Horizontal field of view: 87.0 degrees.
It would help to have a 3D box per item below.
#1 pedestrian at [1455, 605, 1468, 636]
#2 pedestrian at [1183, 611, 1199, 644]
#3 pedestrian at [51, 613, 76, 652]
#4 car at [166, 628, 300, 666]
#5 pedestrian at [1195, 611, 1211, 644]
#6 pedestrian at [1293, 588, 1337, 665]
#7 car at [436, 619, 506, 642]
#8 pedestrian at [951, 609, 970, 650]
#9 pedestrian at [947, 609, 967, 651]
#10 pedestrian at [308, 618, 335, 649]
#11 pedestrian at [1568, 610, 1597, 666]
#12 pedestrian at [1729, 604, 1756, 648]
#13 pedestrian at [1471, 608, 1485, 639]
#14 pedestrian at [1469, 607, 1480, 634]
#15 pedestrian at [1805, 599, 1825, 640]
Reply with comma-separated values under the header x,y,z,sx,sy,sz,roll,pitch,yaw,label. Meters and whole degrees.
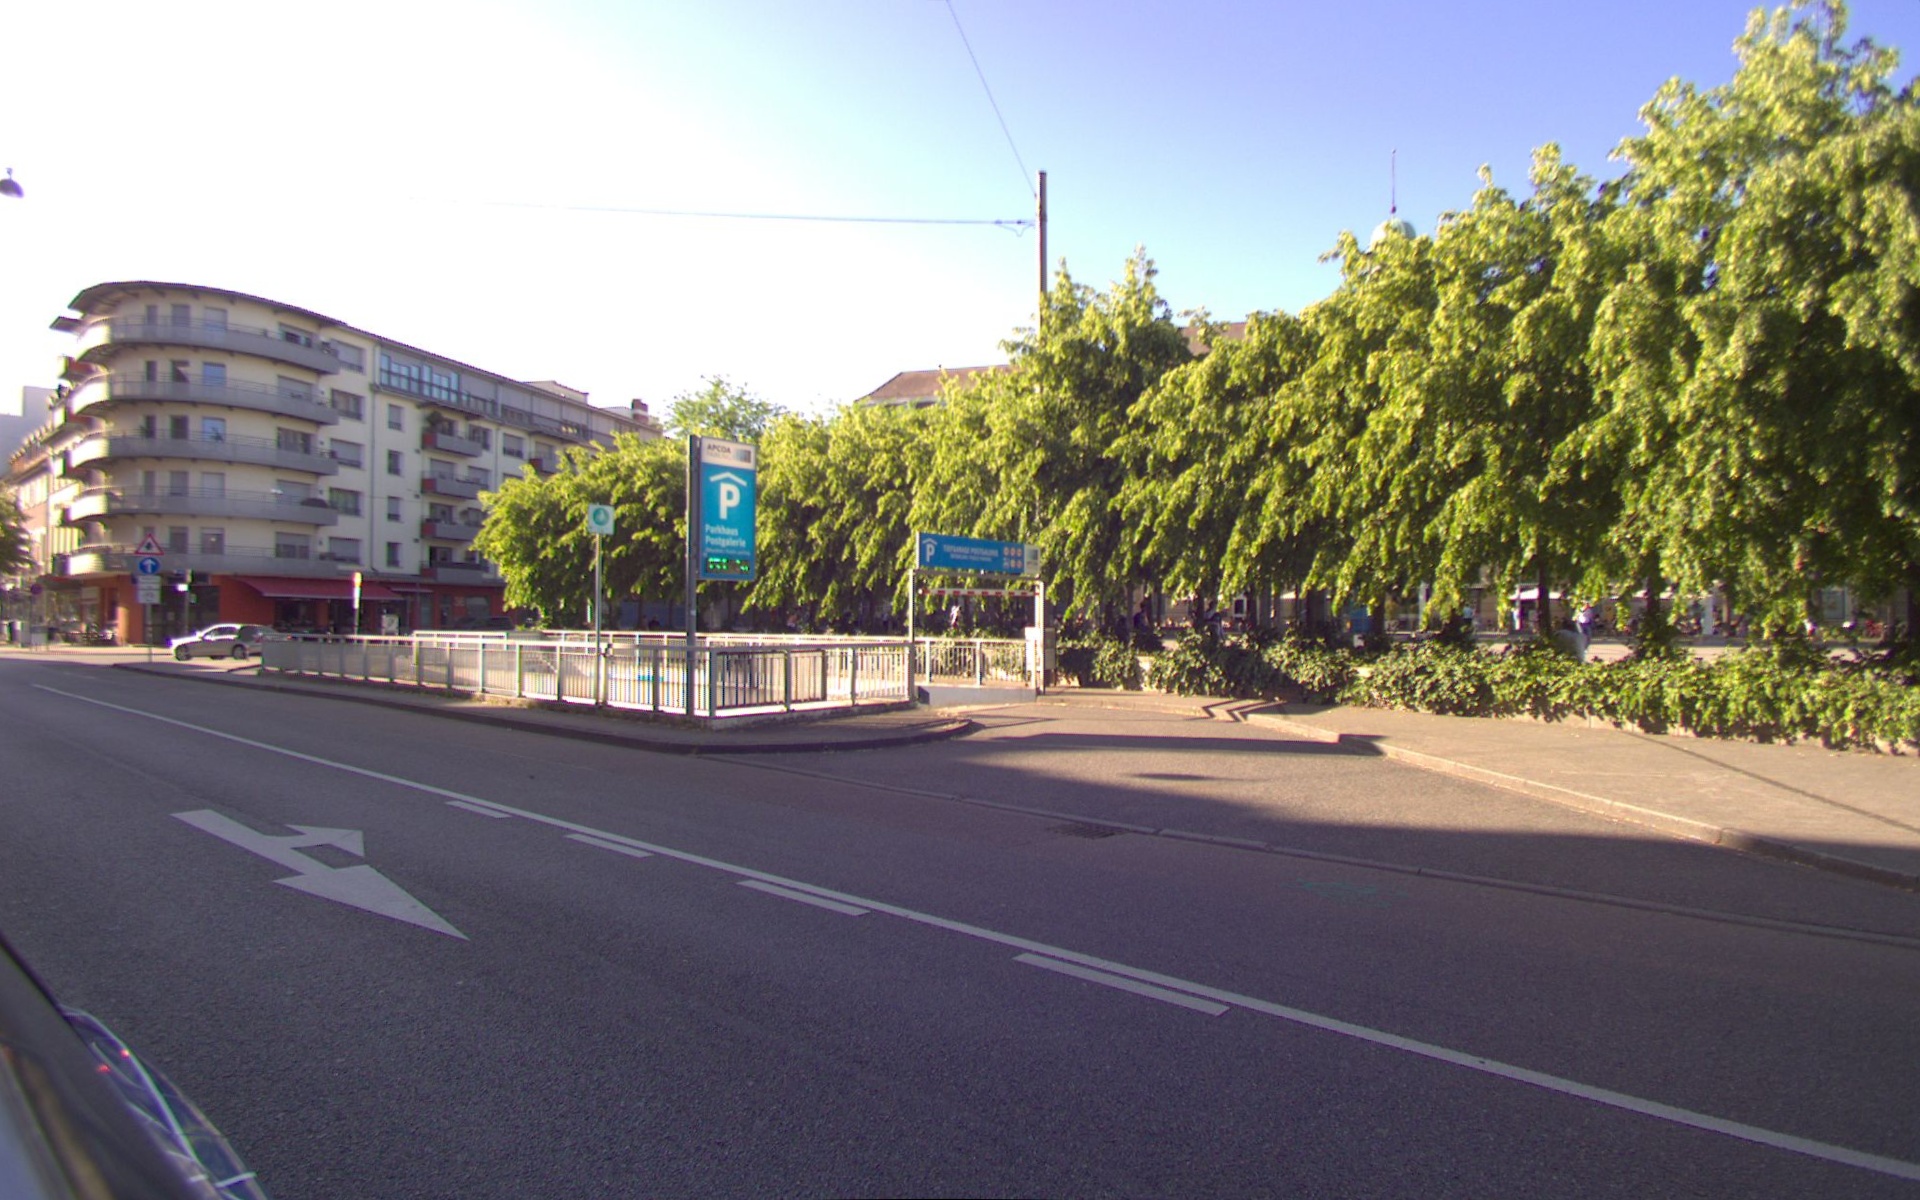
x,y,z,sx,sy,sz,roll,pitch,yaw,label
28.825,1.167,58.155,0.643,1.734,0.603,-1,0,26,pedestrian
12.104,1.431,52.999,0.606,1.734,0.640,-1,0,31,pedestrian
-46.764,1.677,52.781,0.888,2.029,0.850,-1,0,40,pedestrian
-28.613,1.835,39.901,4.216,1.363,1.819,1,-2,9,car
12.862,1.433,53.564,0.606,1.734,0.640,-1,0,31,pedestrian
7.787,0.573,22.216,0.645,1.661,0.626,-1,0,-35,pedestrian
-30.502,1.892,63.229,1.742,1.311,3.977,-1,-1,17,car
0.032,1.258,43.155,0.604,1.734,0.642,-1,0,21,pedestrian
-0.125,1.266,42.554,0.604,1.734,0.642,-1,0,21,pedestrian
-33.466,1.758,53.032,0.877,1.607,0.861,-1,0,2,pedestrian
19.588,1.183,31.845,0.643,1.734,0.604,-1,0,22,pedestrian
31.552,1.040,40.818,0.641,1.734,0.605,-1,0,18,pedestrian
29.166,1.310,56.986,0.643,1.734,0.603,-1,0,26,pedestrian
29.429,1.181,57.847,0.537,1.512,0.547,-1,0,29,pedestrian
40.773,0.924,48.270,0.676,1.963,0.632,-1,0,38,pedestrian
